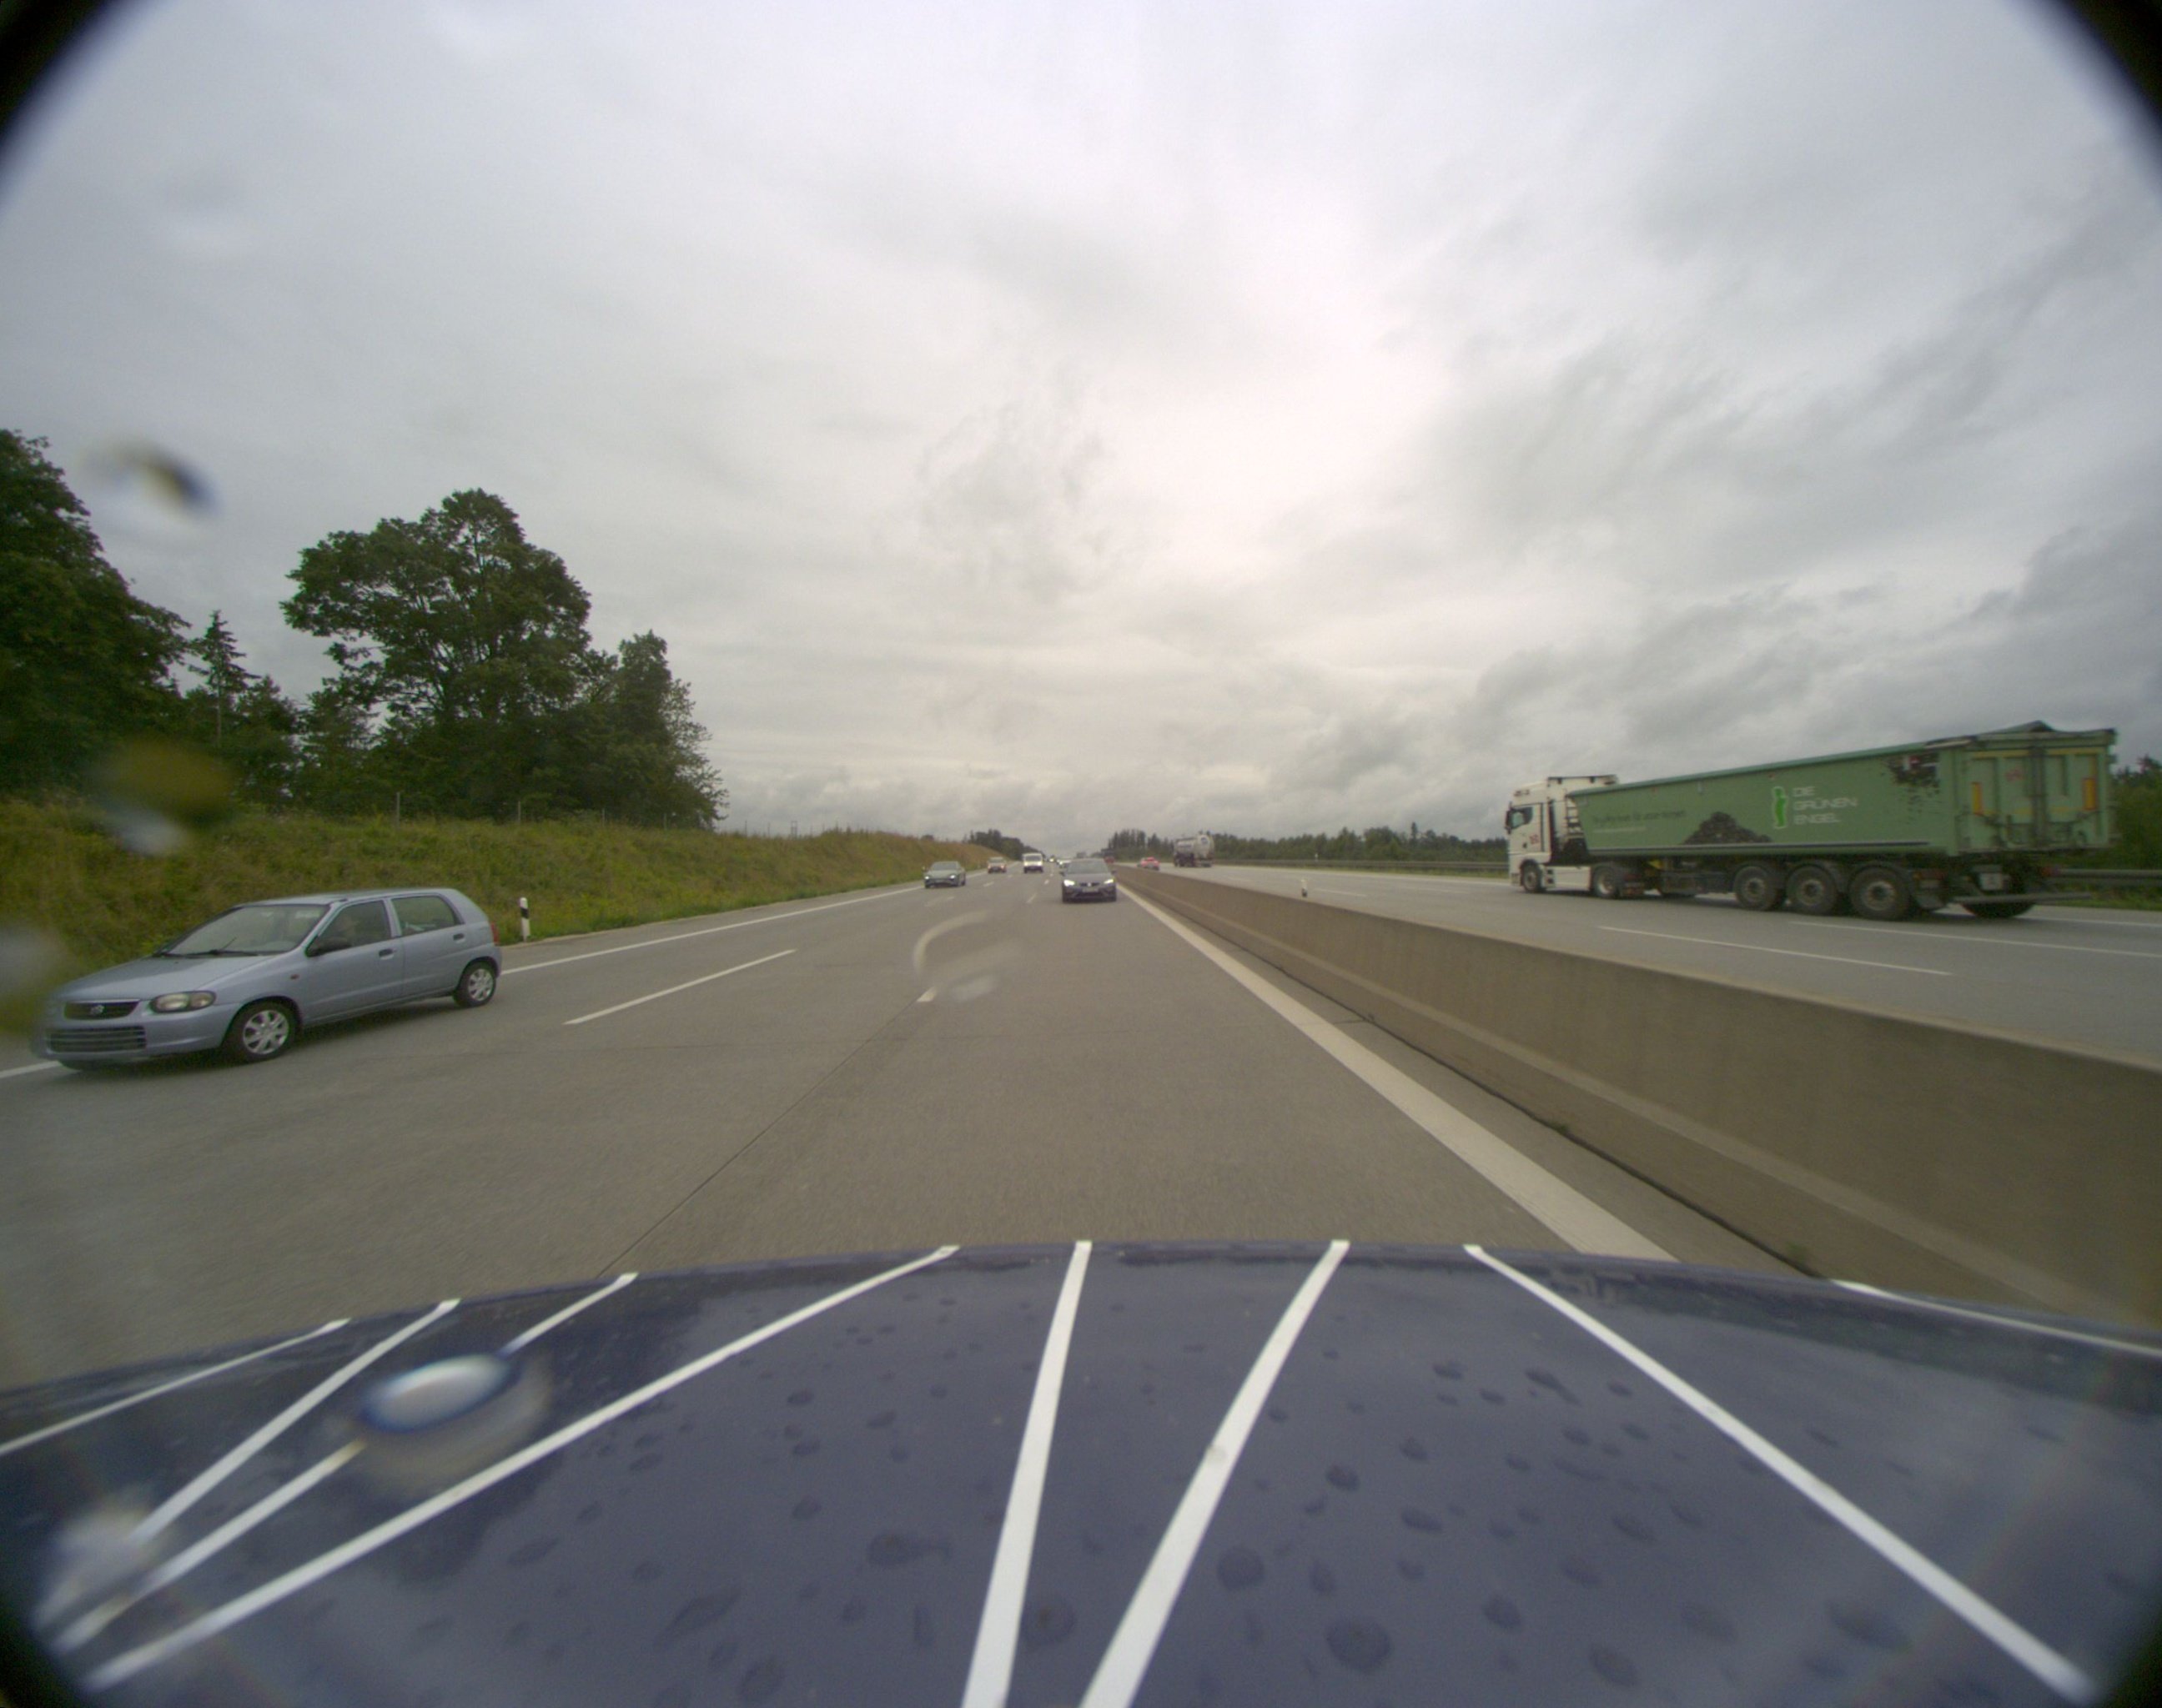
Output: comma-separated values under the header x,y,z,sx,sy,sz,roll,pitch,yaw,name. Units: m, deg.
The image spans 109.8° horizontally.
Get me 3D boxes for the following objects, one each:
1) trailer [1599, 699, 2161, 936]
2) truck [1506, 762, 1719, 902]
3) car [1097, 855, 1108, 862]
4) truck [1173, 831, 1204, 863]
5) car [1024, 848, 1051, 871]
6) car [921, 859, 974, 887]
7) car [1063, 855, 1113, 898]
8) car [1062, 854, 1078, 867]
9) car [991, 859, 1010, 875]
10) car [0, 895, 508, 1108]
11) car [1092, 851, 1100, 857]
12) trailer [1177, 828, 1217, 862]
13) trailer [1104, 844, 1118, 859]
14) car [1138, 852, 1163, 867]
x,y,z,sx,sy,sz,roll,pitch,yaw,name
16.235,-0.601,17.053,2.756,3.777,9.315,-2,0,0,trailer
16.236,-0.641,23.760,2.757,3.780,5.530,-2,1,0,truck
4.337,0.929,153.653,1.797,1.408,4.342,-2,-1,-2,car
14.190,-0.901,100.935,2.754,3.975,6.929,-2,-1,-2,truck
-4.264,0.588,76.113,2.042,2.111,6.070,1,-1,3,car
-7.743,1.085,44.509,2.019,1.437,4.746,-3,-1,2,car
0.271,0.827,29.963,1.789,1.472,4.570,-1,0,0,car
-1.482,0.865,99.667,1.999,1.632,5.042,1,-1,-1,car
-8.559,1.401,80.816,1.790,1.595,4.570,1,-1,-4,car
-7.772,1.225,7.573,1.489,1.462,3.504,-1,-1,-1,car
3.741,-0.022,193.194,1.727,1.578,4.971,0,-1,-2,car
14.339,-1.001,94.927,2.766,3.975,12.288,-2,0,-2,trailer
8.730,-0.687,221.755,2.773,4.256,12.165,-2,-1,-4,trailer
7.406,0.649,81.410,1.999,1.432,4.767,-3,-1,-1,car
